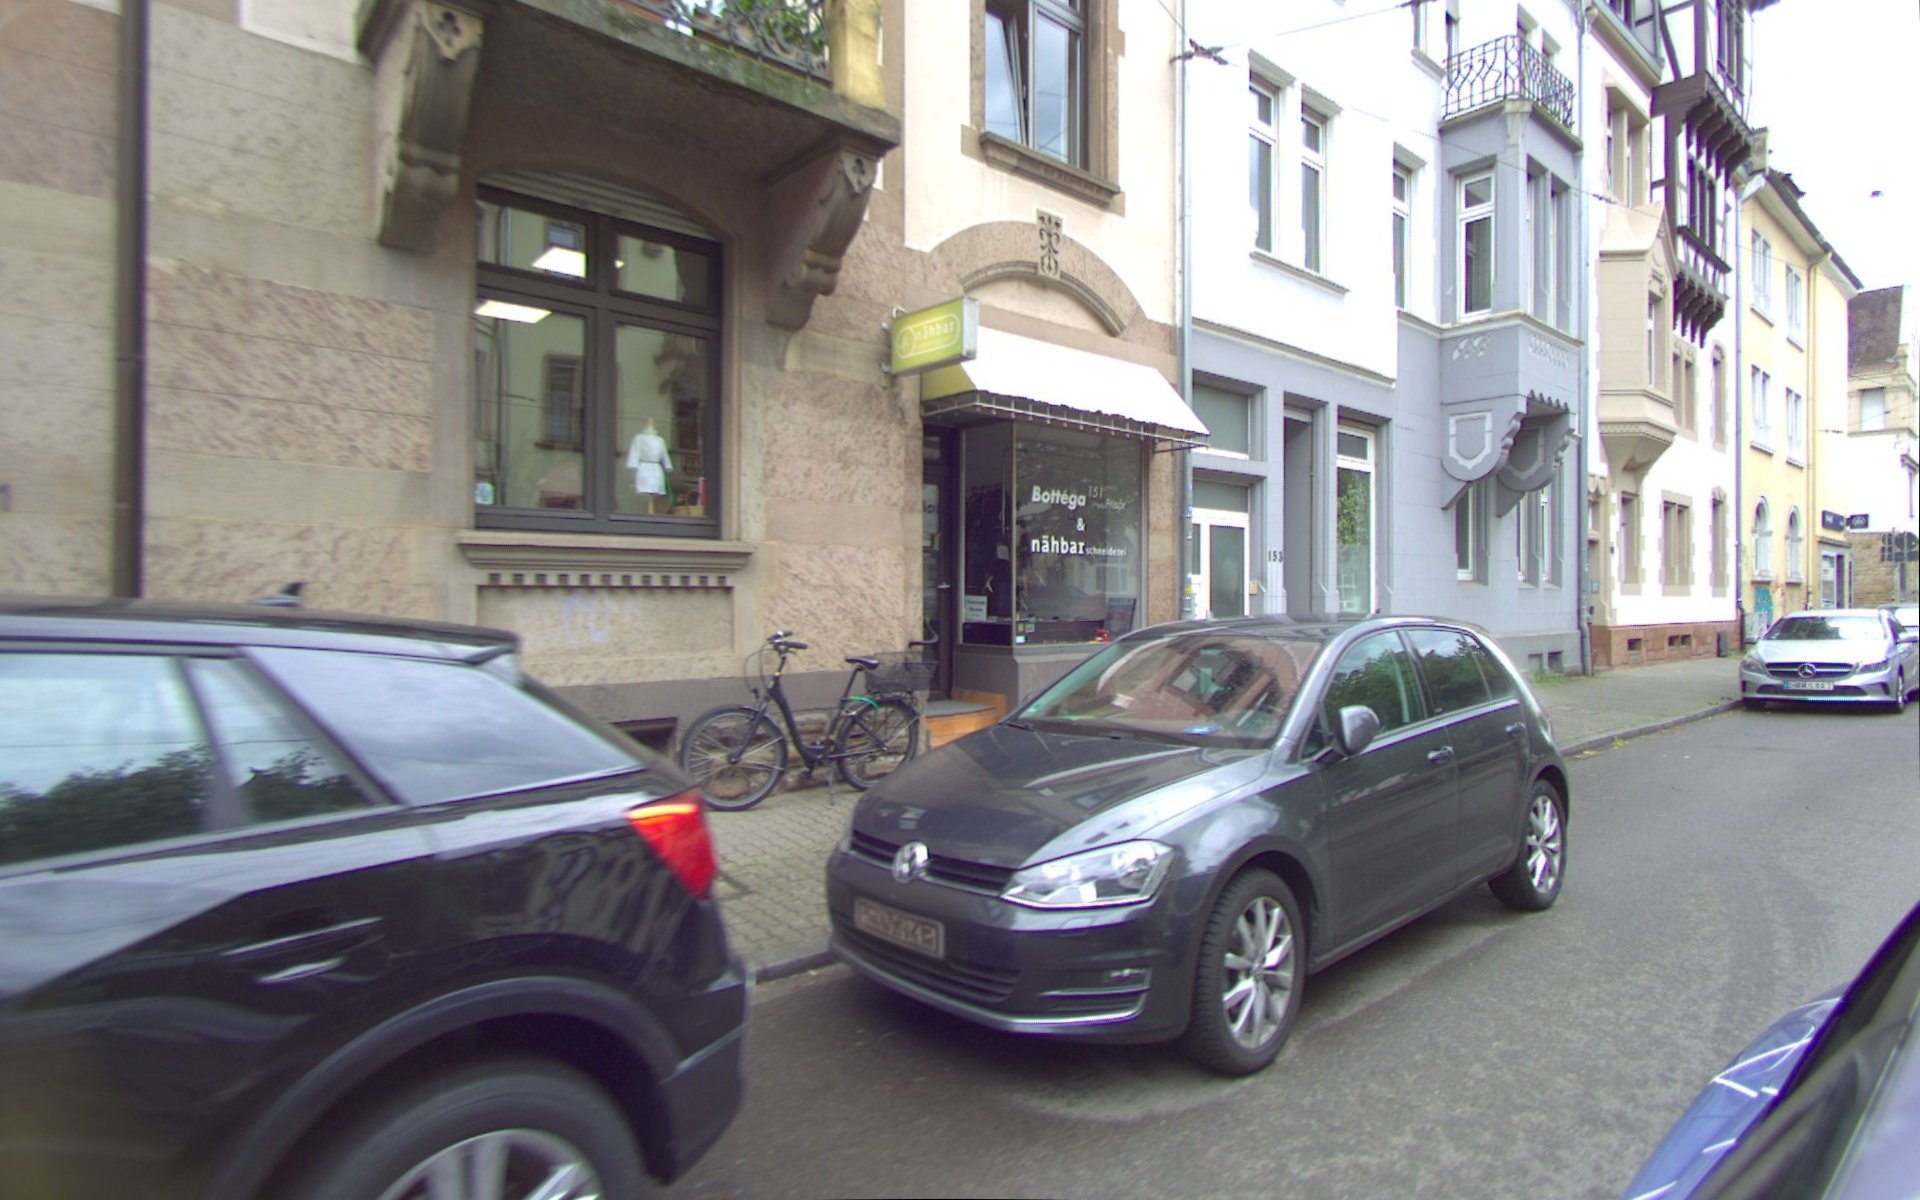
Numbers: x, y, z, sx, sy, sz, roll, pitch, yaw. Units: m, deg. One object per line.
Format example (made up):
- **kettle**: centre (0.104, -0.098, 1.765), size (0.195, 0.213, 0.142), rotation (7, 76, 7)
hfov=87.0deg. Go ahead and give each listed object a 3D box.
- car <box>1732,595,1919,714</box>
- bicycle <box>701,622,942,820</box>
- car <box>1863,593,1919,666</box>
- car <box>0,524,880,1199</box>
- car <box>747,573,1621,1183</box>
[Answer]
- **car**: centre (13.163, 0.731, 15.046), size (4.139, 1.533, 1.791), rotation (0, -3, -41)
- **bicycle**: centre (-0.873, 0.732, 6.666), size (1.560, 1.111, 0.422), rotation (0, 5, -41)
- **car**: centre (21.545, 0.609, 22.510), size (4.141, 1.507, 1.633), rotation (0, -3, -42)
- **car**: centre (-2.356, 0.709, 1.415), size (4.345, 1.533, 1.699), rotation (0, -3, -43)
- **car**: centre (1.367, 0.731, 4.659), size (4.316, 1.533, 1.699), rotation (0, -3, -42)
